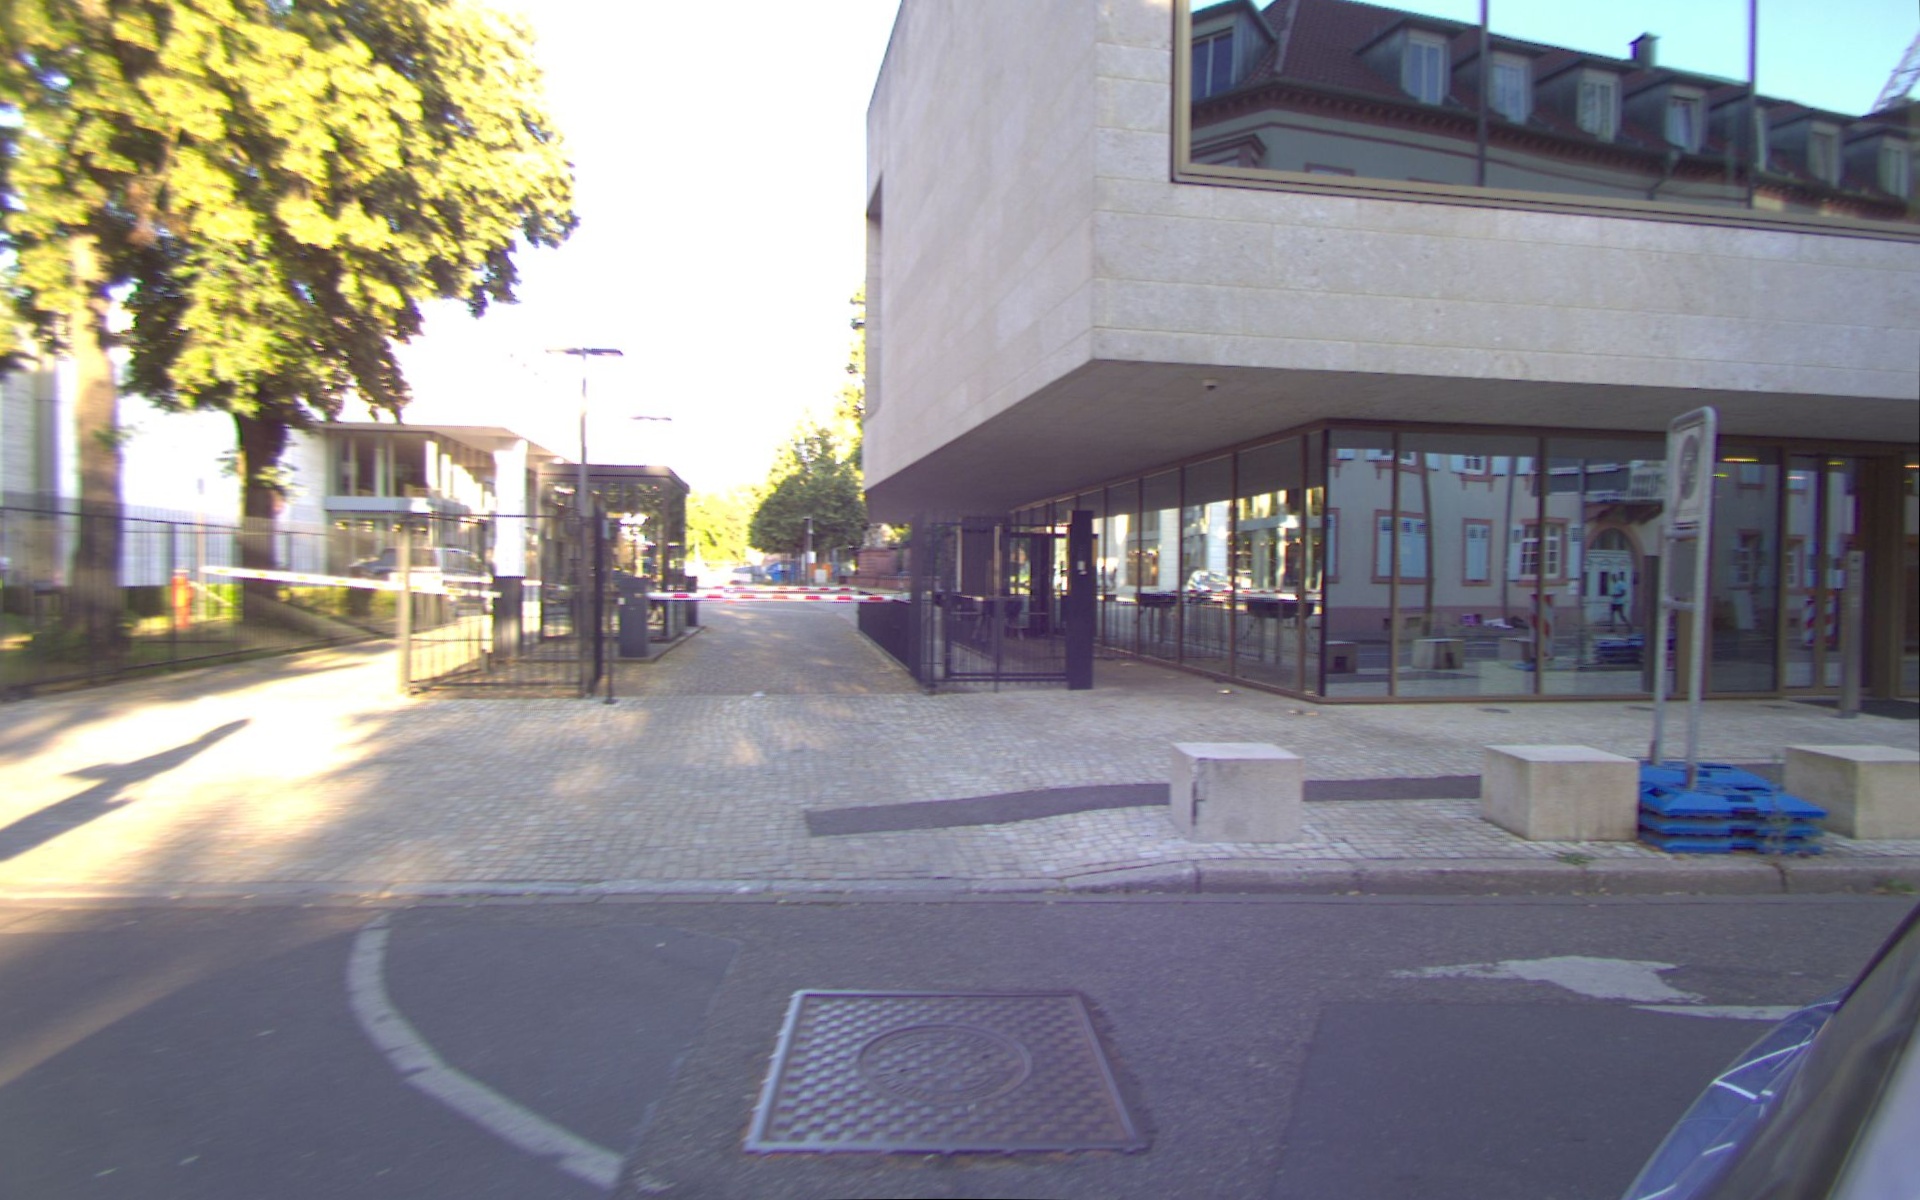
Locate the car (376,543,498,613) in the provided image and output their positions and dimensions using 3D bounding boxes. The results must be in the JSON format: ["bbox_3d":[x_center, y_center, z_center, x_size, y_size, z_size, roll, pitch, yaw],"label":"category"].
[{"bbox_3d":[-14.502,-0.650,28.301,1.675,1.758,4.071,2,2,-7],"label":"car"}]

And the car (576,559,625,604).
[{"bbox_3d":[-13.764,-0.770,38.719,1.675,1.603,3.689,-1,3,-20],"label":"car"}]
